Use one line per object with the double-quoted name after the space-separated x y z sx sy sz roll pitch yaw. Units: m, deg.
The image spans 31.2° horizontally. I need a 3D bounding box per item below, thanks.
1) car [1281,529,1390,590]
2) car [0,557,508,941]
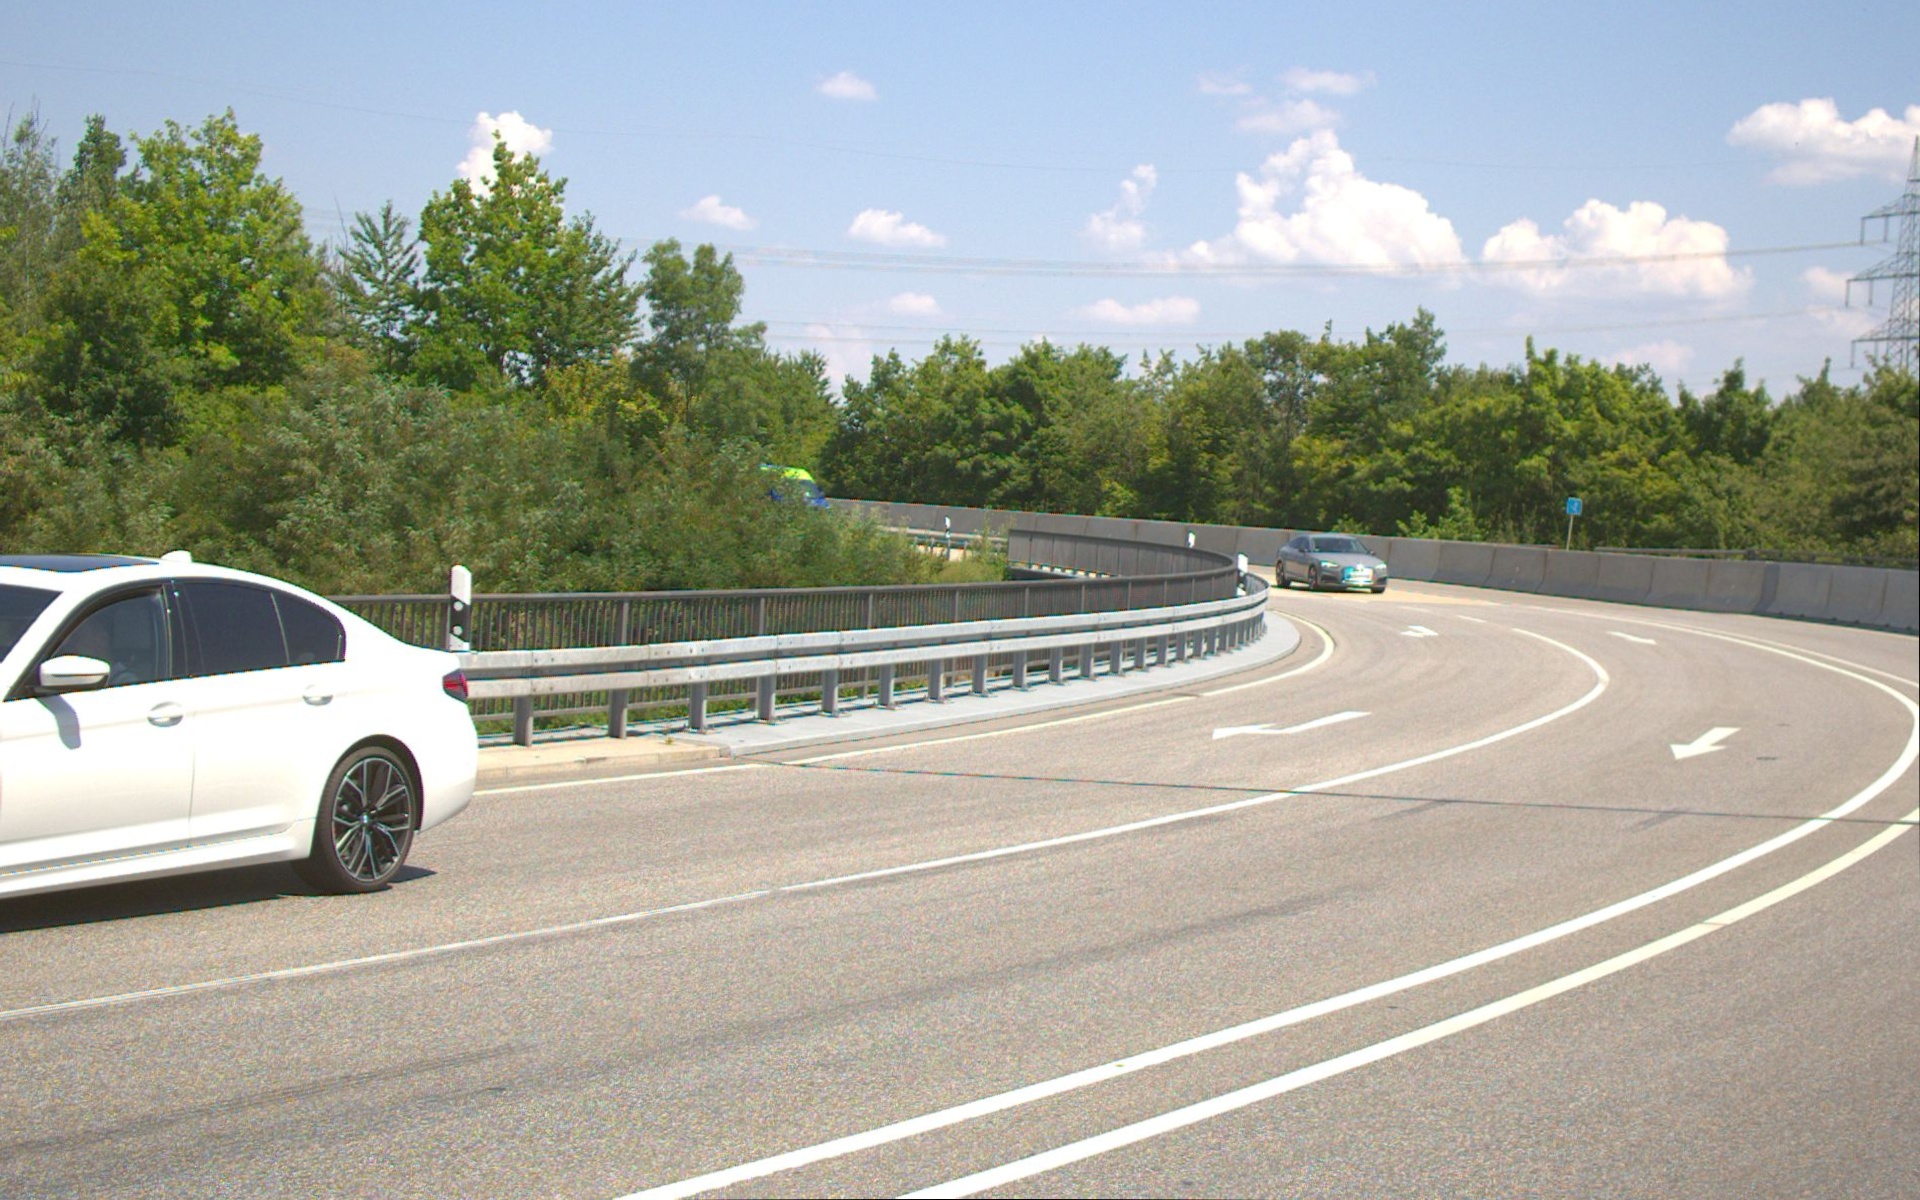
9.335 -1.024 85.741 1.778 1.380 4.283 2 1 -6 "car"
-4.073 0.563 14.486 1.840 1.479 4.830 1 0 28 "car"
